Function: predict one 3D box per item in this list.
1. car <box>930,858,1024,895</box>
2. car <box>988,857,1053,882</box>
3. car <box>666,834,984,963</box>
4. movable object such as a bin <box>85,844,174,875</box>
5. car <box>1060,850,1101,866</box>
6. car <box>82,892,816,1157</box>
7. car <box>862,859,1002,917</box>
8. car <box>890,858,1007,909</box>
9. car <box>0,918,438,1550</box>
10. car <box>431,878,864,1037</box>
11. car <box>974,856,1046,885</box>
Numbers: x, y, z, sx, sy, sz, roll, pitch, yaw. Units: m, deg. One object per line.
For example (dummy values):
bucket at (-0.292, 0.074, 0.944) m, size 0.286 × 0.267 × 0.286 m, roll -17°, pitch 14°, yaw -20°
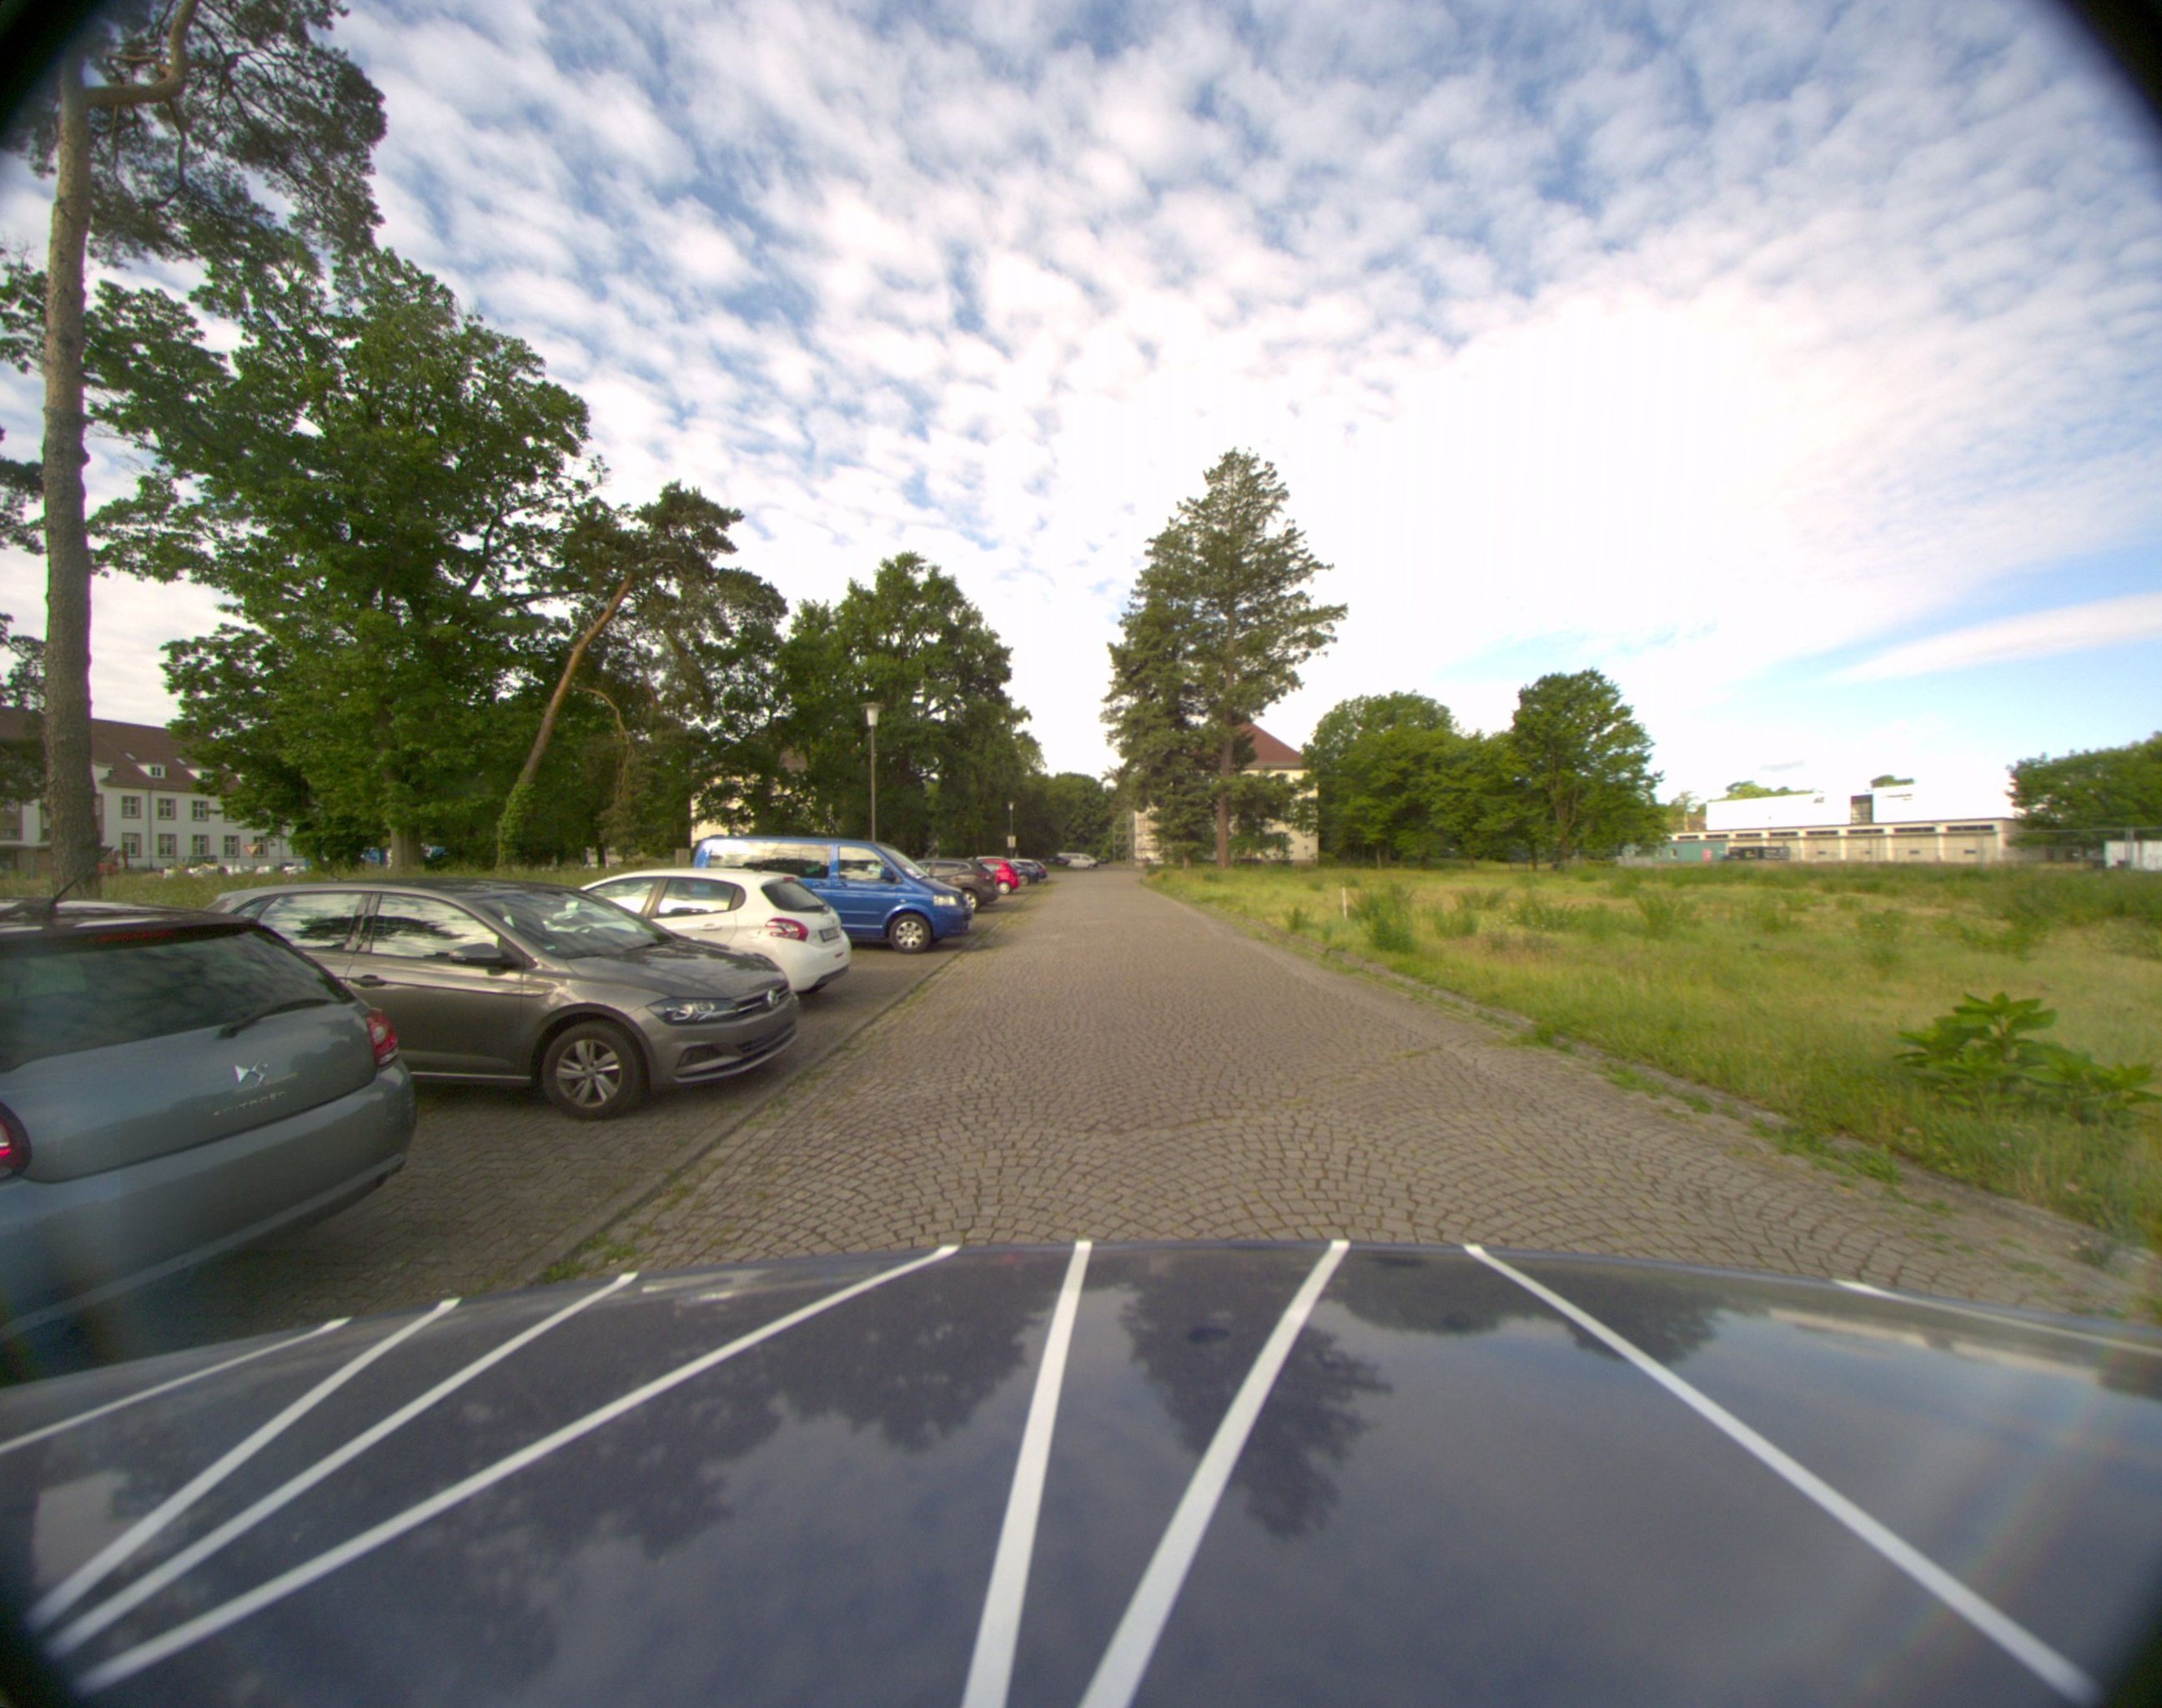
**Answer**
car at (-4.415, 0.955, 32.678) m, size 3.839 × 1.516 × 1.580 m, roll 0°, pitch 0°, yaw -3°
car at (-3.771, 0.948, 47.828) m, size 3.836 × 1.520 × 1.674 m, roll 0°, pitch 0°, yaw 5°
car at (-4.397, 0.732, 13.649) m, size 4.953 × 2.011 × 2.060 m, roll 2°, pitch 0°, yaw 1°
movable object such as a bin at (-89.870, 0.484, 71.881) m, size 1.999 × 2.752 × 5.201 m, roll 0°, pitch 0°, yaw -4°
car at (-0.098, 0.461, 96.513) m, size 5.129 × 2.002 × 1.804 m, roll 0°, pitch 0°, yaw -1°
car at (-4.044, 1.042, 5.302) m, size 3.781 × 1.457 × 1.643 m, roll 0°, pitch 0°, yaw 2°
car at (-4.280, 0.961, 22.296) m, size 3.839 × 1.592 × 1.581 m, roll 0°, pitch 0°, yaw -3°
car at (-4.337, 0.951, 25.218) m, size 3.634 × 1.592 × 1.581 m, roll 0°, pitch 0°, yaw -3°
car at (-4.663, 1.029, 2.424) m, size 3.837 × 1.494 × 1.604 m, roll 0°, pitch 0°, yaw 0°
car at (-4.466, 1.035, 8.195) m, size 3.761 × 1.490 × 1.581 m, roll 0°, pitch 0°, yaw 2°
car at (-3.990, 0.938, 43.089) m, size 3.836 × 1.609 × 1.582 m, roll 0°, pitch 0°, yaw 5°
